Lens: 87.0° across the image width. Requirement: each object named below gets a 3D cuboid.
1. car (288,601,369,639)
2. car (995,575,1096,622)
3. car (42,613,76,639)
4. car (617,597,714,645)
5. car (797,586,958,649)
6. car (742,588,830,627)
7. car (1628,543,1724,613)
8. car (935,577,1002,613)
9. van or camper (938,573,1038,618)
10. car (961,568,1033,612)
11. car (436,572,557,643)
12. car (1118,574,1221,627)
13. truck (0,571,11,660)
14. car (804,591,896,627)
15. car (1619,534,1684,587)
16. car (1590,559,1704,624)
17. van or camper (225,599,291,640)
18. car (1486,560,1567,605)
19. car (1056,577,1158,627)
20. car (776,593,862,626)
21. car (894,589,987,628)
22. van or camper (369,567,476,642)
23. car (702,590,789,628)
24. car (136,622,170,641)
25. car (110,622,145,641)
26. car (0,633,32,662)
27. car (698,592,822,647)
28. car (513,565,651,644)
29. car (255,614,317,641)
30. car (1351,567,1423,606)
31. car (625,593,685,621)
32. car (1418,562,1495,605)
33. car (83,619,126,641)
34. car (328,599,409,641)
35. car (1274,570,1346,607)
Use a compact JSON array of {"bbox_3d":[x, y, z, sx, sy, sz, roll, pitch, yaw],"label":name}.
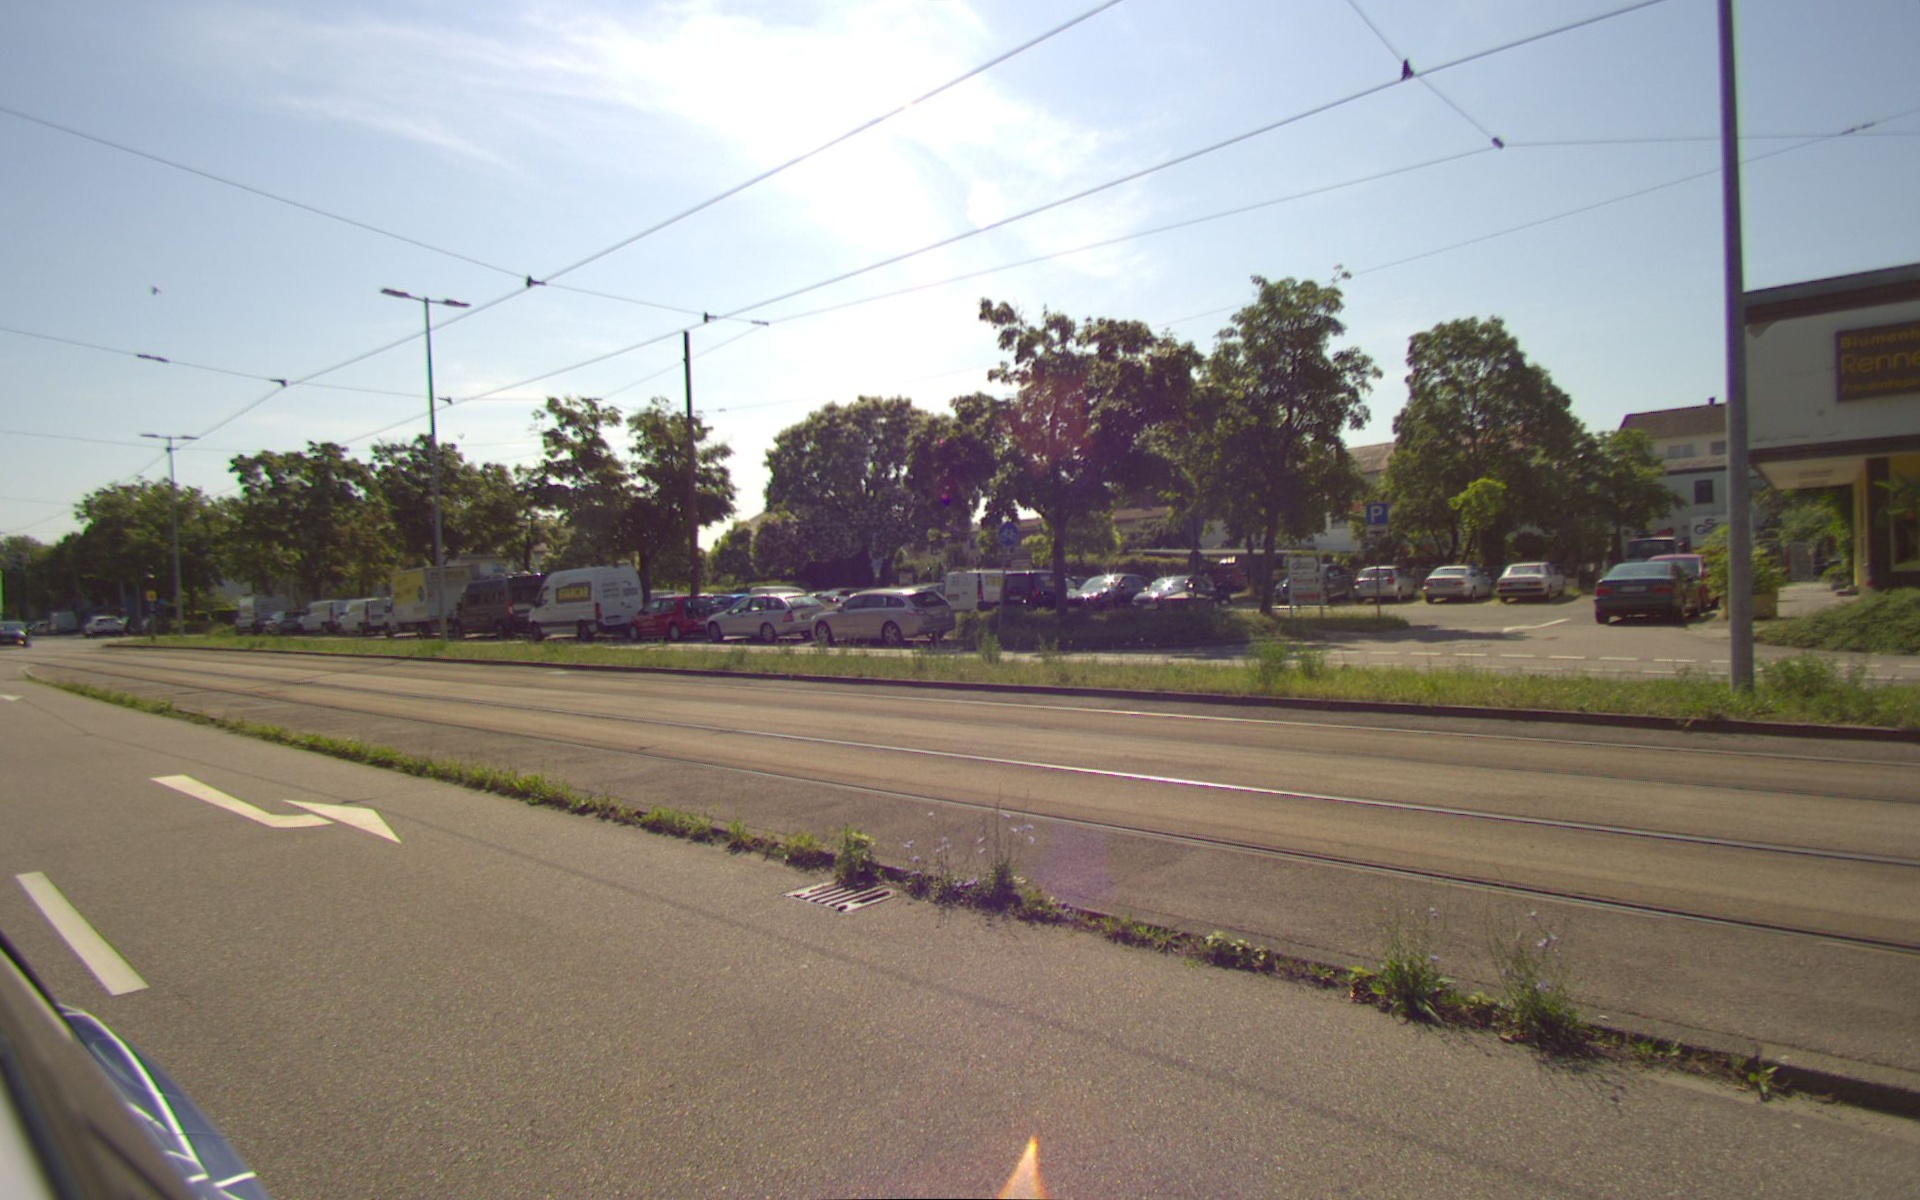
[{"bbox_3d":[-36.566,1.160,58.545,5.176,1.955,2.176,-2,2,37],"label":"car"},{"bbox_3d":[3.138,-0.084,36.573,1.662,1.574,3.948,-2,0,39],"label":"car"},{"bbox_3d":[-104.929,3.020,117.822,6.083,2.670,1.991,-2,4,41],"label":"car"},{"bbox_3d":[-9.986,0.710,34.238,3.673,1.501,1.279,-2,1,40],"label":"car"},{"bbox_3d":[-2.328,0.494,27.496,4.617,1.501,1.587,-2,3,43],"label":"car"},{"bbox_3d":[-8.179,0.334,47.866,1.662,1.707,3.946,-2,1,40],"label":"car"},{"bbox_3d":[19.848,-0.636,27.983,1.697,1.748,4.104,-2,1,42],"label":"car"},{"bbox_3d":[0.540,-0.325,60.475,1.908,2.018,3.950,-2,0,37],"label":"car"},{"bbox_3d":[1.096,-0.184,38.241,1.873,1.574,3.952,-2,0,35],"label":"van or camper"},{"bbox_3d":[2.046,-0.538,54.682,1.908,2.216,3.950,-2,0,37],"label":"car"},{"bbox_3d":[-19.640,0.332,42.756,6.075,2.688,2.174,-2,2,41],"label":"car"},{"bbox_3d":[6.901,-0.017,33.099,1.662,1.574,3.948,-2,0,39],"label":"car"},{"bbox_3d":[-42.520,0.699,41.404,3.338,4.100,14.321,-3,1,-35],"label":"truck"},{"bbox_3d":[-4.705,0.383,43.865,1.658,1.381,3.949,-2,0,38],"label":"car"},{"bbox_3d":[31.466,-1.780,45.990,2.097,2.190,4.882,-2,1,38],"label":"car"},{"bbox_3d":[16.257,-0.226,23.868,1.697,1.354,4.104,-2,1,42],"label":"car"},{"bbox_3d":[-46.431,1.310,66.858,6.146,2.533,2.233,-2,0,43],"label":"van or camper"},{"bbox_3d":[20.967,-0.666,37.370,1.909,1.545,3.947,-2,0,39],"label":"car"},{"bbox_3d":[5.089,0.030,34.690,1.662,1.574,3.948,-2,0,39],"label":"car"},{"bbox_3d":[-6.365,0.415,46.125,1.487,1.381,3.950,-2,0,37],"label":"car"},{"bbox_3d":[-0.706,0.323,39.707,1.486,1.381,3.950,-2,0,37],"label":"car"},{"bbox_3d":[-25.657,0.263,48.167,6.771,3.265,2.173,-2,2,43],"label":"van or camper"},{"bbox_3d":[-10.523,0.418,49.767,1.662,1.707,3.946,-2,1,40],"label":"car"},{"bbox_3d":[-68.044,2.690,85.318,4.082,1.461,1.598,-2,0,43],"label":"car"},{"bbox_3d":[-76.473,2.871,92.949,4.238,1.625,1.658,-2,0,39],"label":"car"},{"bbox_3d":[-53.146,2.652,56.330,3.997,1.475,1.737,-2,1,41],"label":"car"},{"bbox_3d":[-6.183,0.593,30.947,4.349,1.501,1.278,-2,2,41],"label":"car"},{"bbox_3d":[-14.285,0.223,38.053,5.976,2.650,2.173,-2,2,42],"label":"car"},{"bbox_3d":[-41.523,1.672,62.276,4.883,1.465,1.912,-2,2,41],"label":"car"},{"bbox_3d":[17.565,-0.576,41.589,1.674,1.435,3.934,-2,0,39],"label":"car"},{"bbox_3d":[-22.872,0.484,75.912,1.783,1.905,3.950,-2,0,37],"label":"car"},{"bbox_3d":[19.396,-0.657,39.461,1.908,1.545,3.949,-2,0,38],"label":"car"},{"bbox_3d":[-65.258,2.292,77.172,4.661,1.609,2.020,-2,-1,44],"label":"car"},{"bbox_3d":[-31.620,1.081,54.026,5.184,1.955,2.173,-2,3,43],"label":"car"},{"bbox_3d":[14.789,-0.501,42.641,1.674,1.435,3.935,-2,0,38],"label":"car"}]
